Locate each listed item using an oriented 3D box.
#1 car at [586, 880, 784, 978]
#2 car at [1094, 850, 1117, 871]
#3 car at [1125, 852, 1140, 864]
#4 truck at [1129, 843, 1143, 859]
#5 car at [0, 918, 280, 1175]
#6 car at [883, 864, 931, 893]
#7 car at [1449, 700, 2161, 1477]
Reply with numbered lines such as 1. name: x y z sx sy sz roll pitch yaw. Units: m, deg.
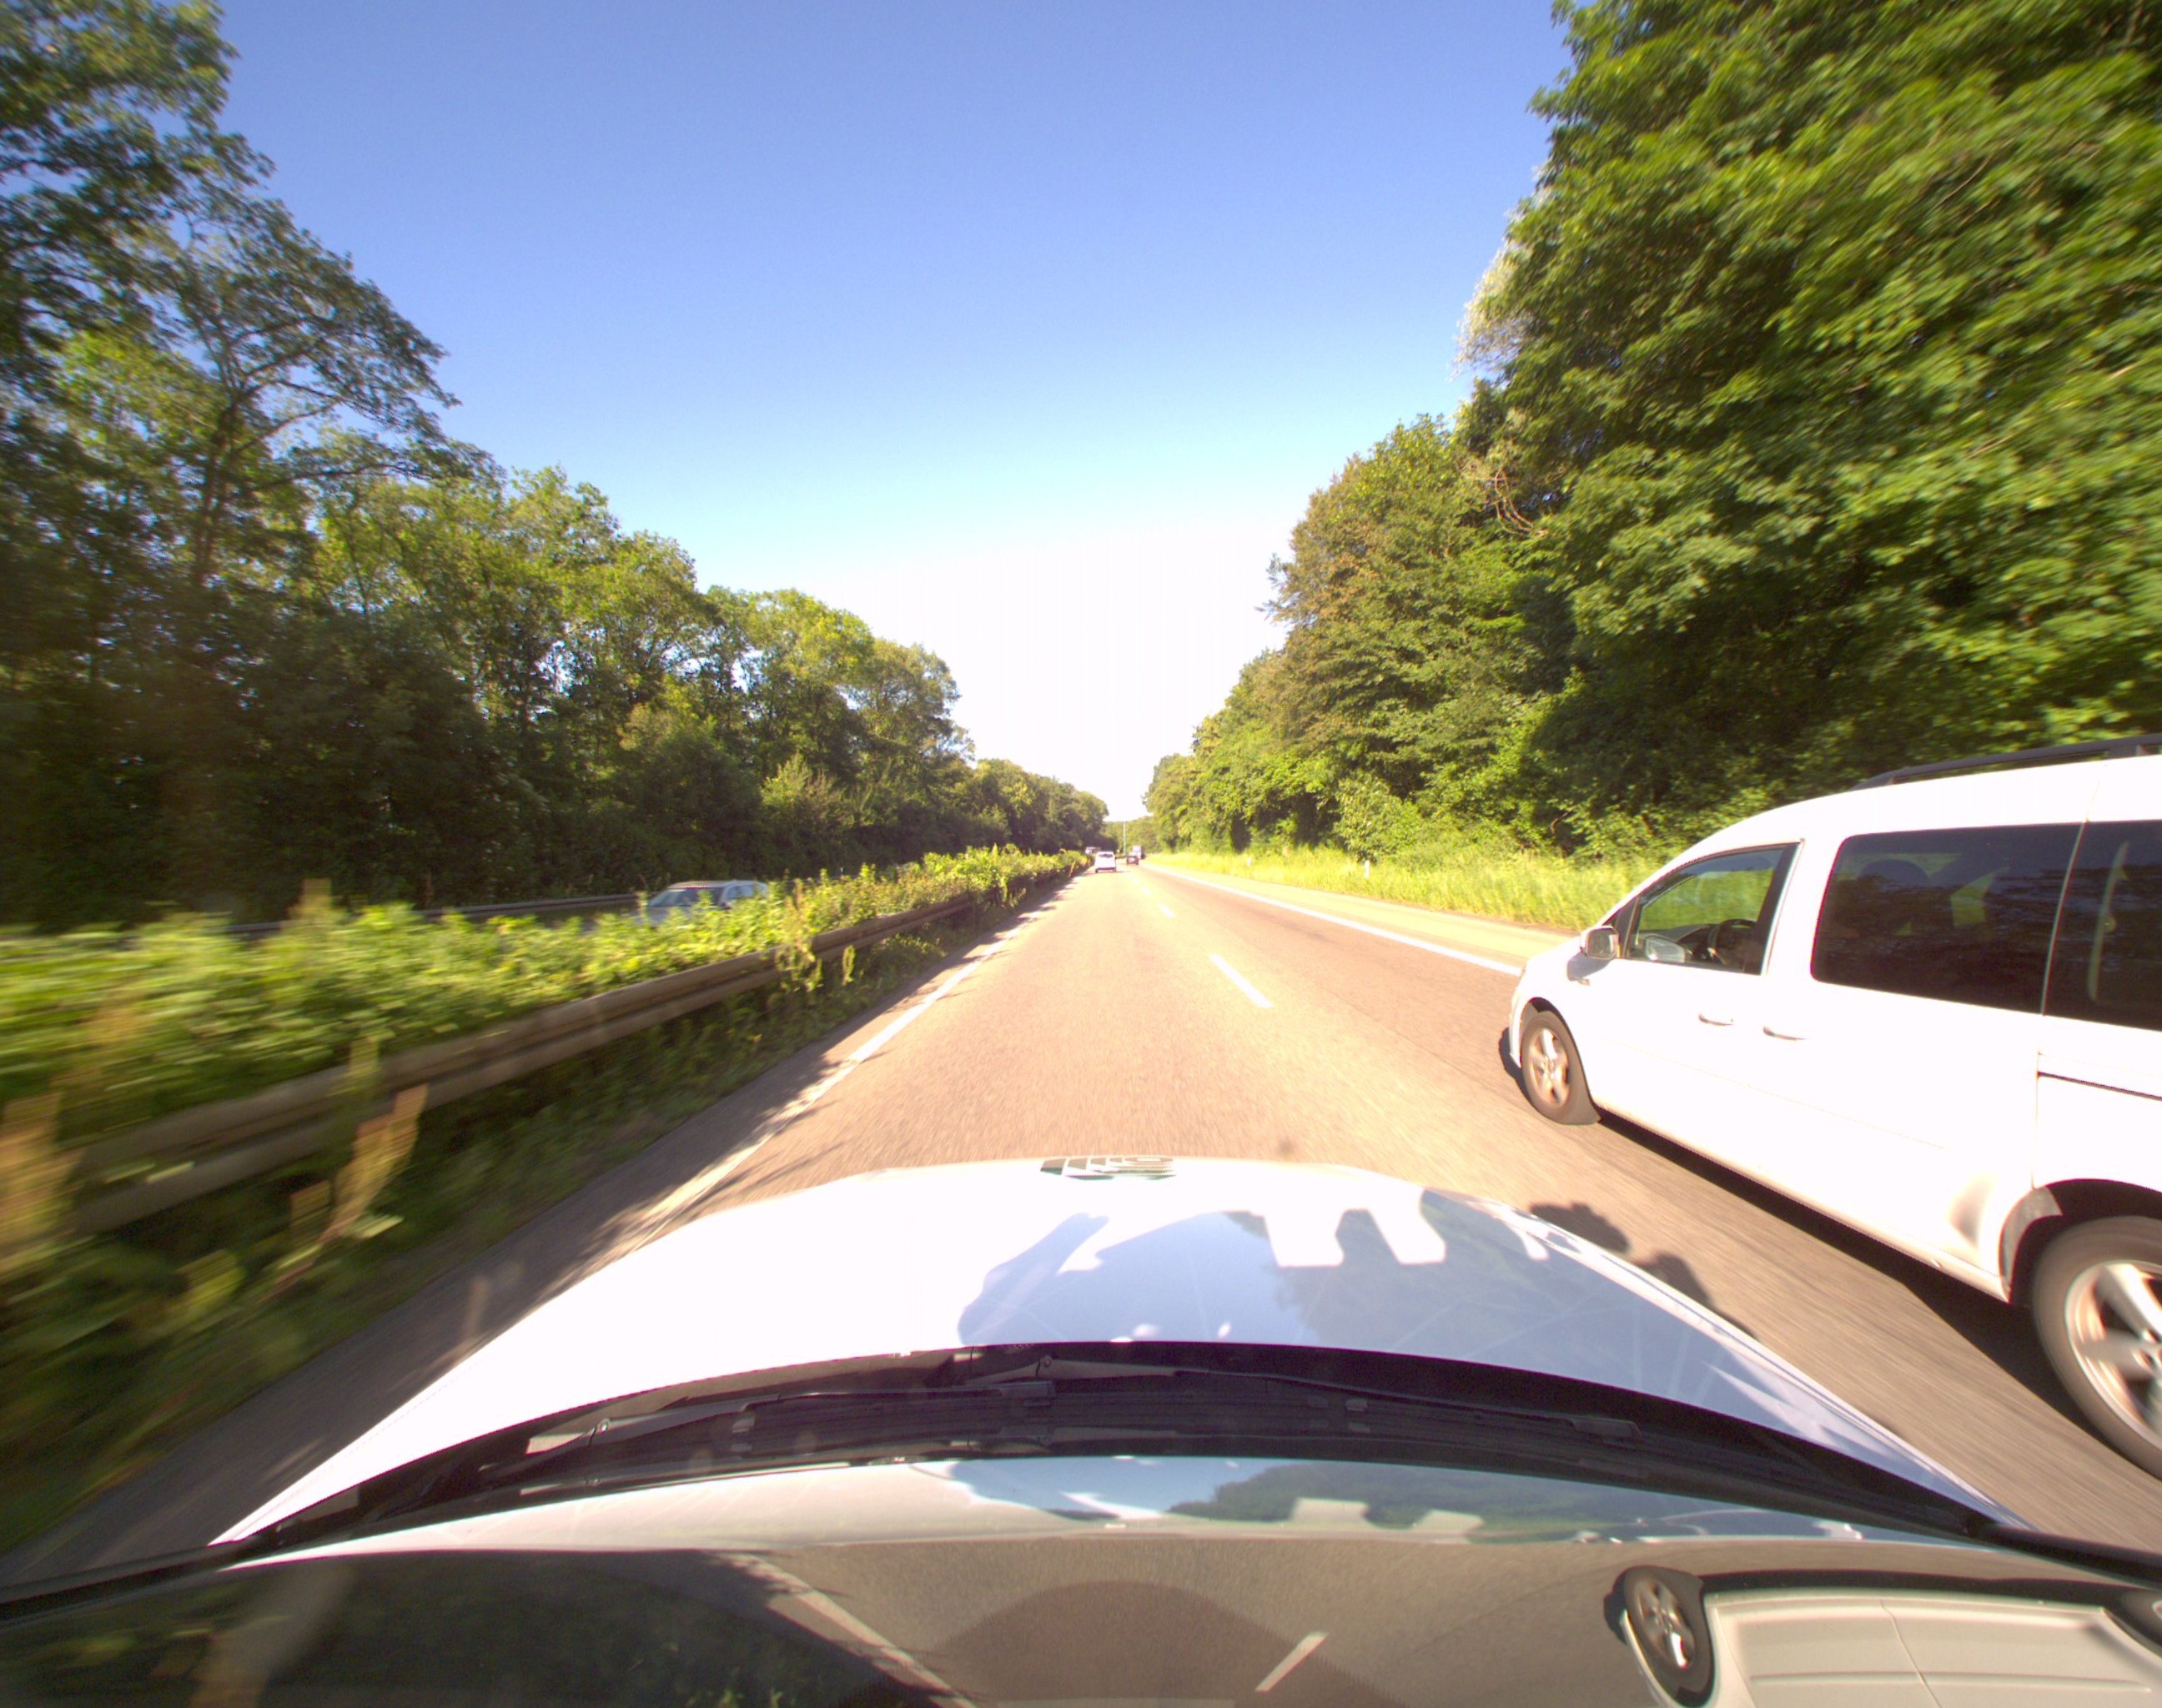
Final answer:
1. car: -7.878 1.409 16.772 1.706 1.605 4.587 0 0 2
2. car: 2.155 0.562 72.039 1.944 1.782 4.589 0 0 1
3. car: 7.593 0.608 120.350 1.944 1.782 4.589 0 0 1
4. truck: 15.798 -0.861 233.080 3.715 4.343 9.320 -1 0 6
5. car: -8.188 1.370 5.091 1.726 1.603 4.585 0 0 2
6. car: -10.169 1.404 47.816 1.840 1.574 4.001 0 0 2
7. car: 3.456 0.552 3.472 1.792 1.813 4.589 0 0 1
